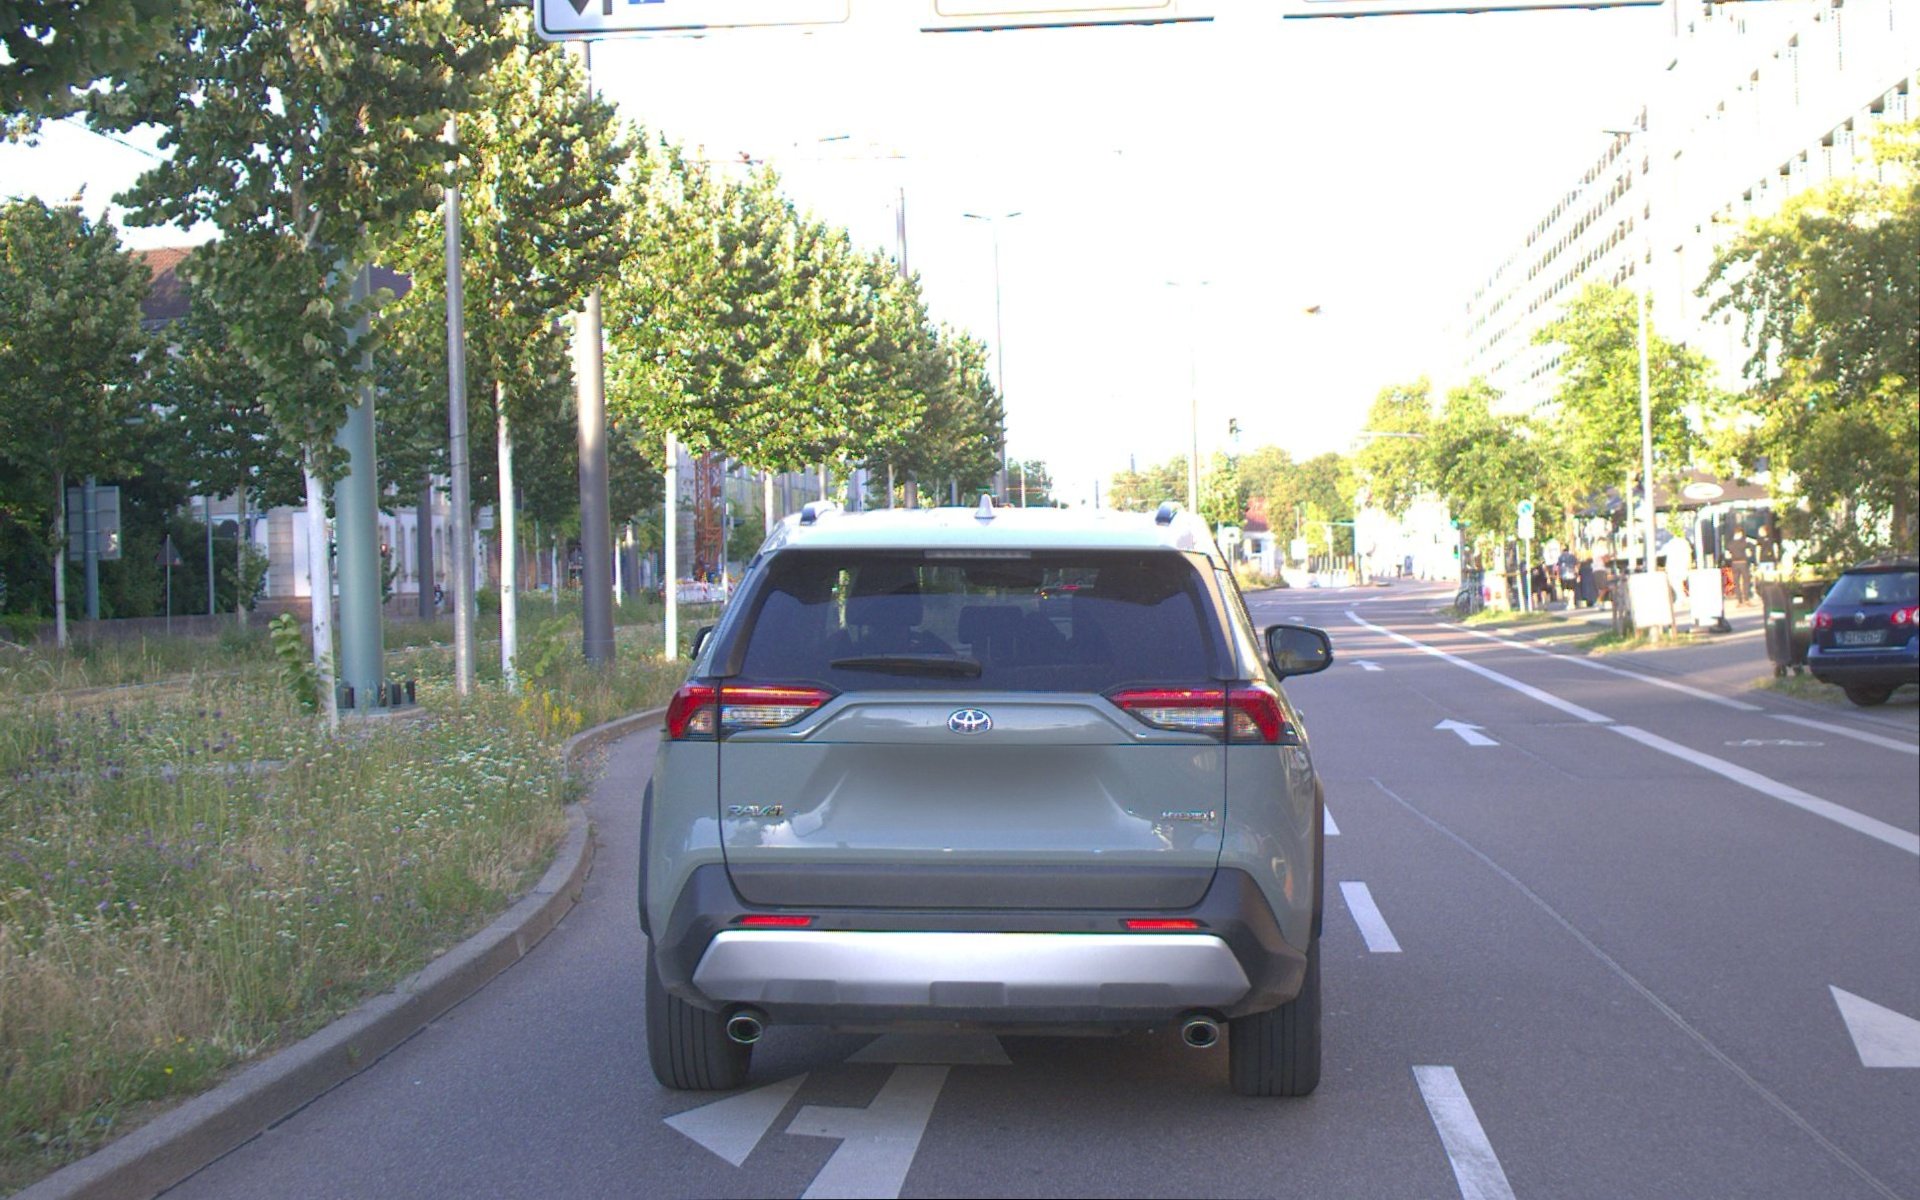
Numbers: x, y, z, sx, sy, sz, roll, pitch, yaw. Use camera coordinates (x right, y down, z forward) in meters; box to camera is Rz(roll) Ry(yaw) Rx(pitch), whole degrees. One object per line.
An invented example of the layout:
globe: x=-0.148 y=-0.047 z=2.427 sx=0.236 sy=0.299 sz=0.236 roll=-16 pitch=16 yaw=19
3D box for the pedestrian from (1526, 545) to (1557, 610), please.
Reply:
pedestrian: x=15.519 y=-0.605 z=91.704 sx=0.653 sy=1.696 sz=0.689 roll=-3 pitch=0 yaw=4

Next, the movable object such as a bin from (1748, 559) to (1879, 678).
movable object such as a bin: x=9.982 y=0.205 z=40.269 sx=1.084 sy=1.297 sz=1.361 roll=-4 pitch=1 yaw=-2

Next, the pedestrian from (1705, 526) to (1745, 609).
pedestrian: x=17.527 y=-0.735 z=78.751 sx=0.744 sy=1.842 sz=0.940 roll=-4 pitch=0 yaw=13

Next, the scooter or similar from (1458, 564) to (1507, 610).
scooter or similar: x=14.531 y=-0.372 z=95.644 sx=1.209 sy=1.197 sz=0.480 roll=-3 pitch=1 yaw=-1

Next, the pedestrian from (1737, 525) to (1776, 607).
pedestrian: x=18.228 y=-0.775 z=78.667 sx=0.756 sy=1.818 sz=0.940 roll=-3 pitch=0 yaw=13

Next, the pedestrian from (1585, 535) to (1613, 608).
pedestrian: x=15.933 y=-0.707 z=85.697 sx=0.576 sy=1.780 sz=0.828 roll=-3 pitch=-1 yaw=12

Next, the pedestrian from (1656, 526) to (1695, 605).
pedestrian: x=17.532 y=-0.847 z=84.257 sx=0.825 sy=1.882 sz=0.866 roll=-3 pitch=-1 yaw=13

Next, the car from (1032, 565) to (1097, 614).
car: x=2.990 y=-0.302 z=97.877 sx=1.674 sy=1.347 sz=4.000 roll=0 pitch=1 yaw=4

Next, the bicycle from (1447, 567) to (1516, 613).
bicycle: x=14.584 y=-0.286 z=96.188 sx=1.793 sy=1.189 sz=0.568 roll=-4 pitch=0 yaw=0

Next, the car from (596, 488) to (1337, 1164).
car: x=0.153 y=0.527 z=10.673 sx=1.834 sy=1.667 sz=4.282 roll=0 pitch=1 yaw=4

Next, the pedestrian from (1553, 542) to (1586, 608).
pedestrian: x=16.256 y=-0.668 z=91.763 sx=0.685 sy=1.729 sz=0.761 roll=-4 pitch=0 yaw=4

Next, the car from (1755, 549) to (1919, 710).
car: x=10.488 y=0.196 z=35.071 sx=4.655 sy=1.503 sz=1.939 roll=-4 pitch=0 yaw=-35
